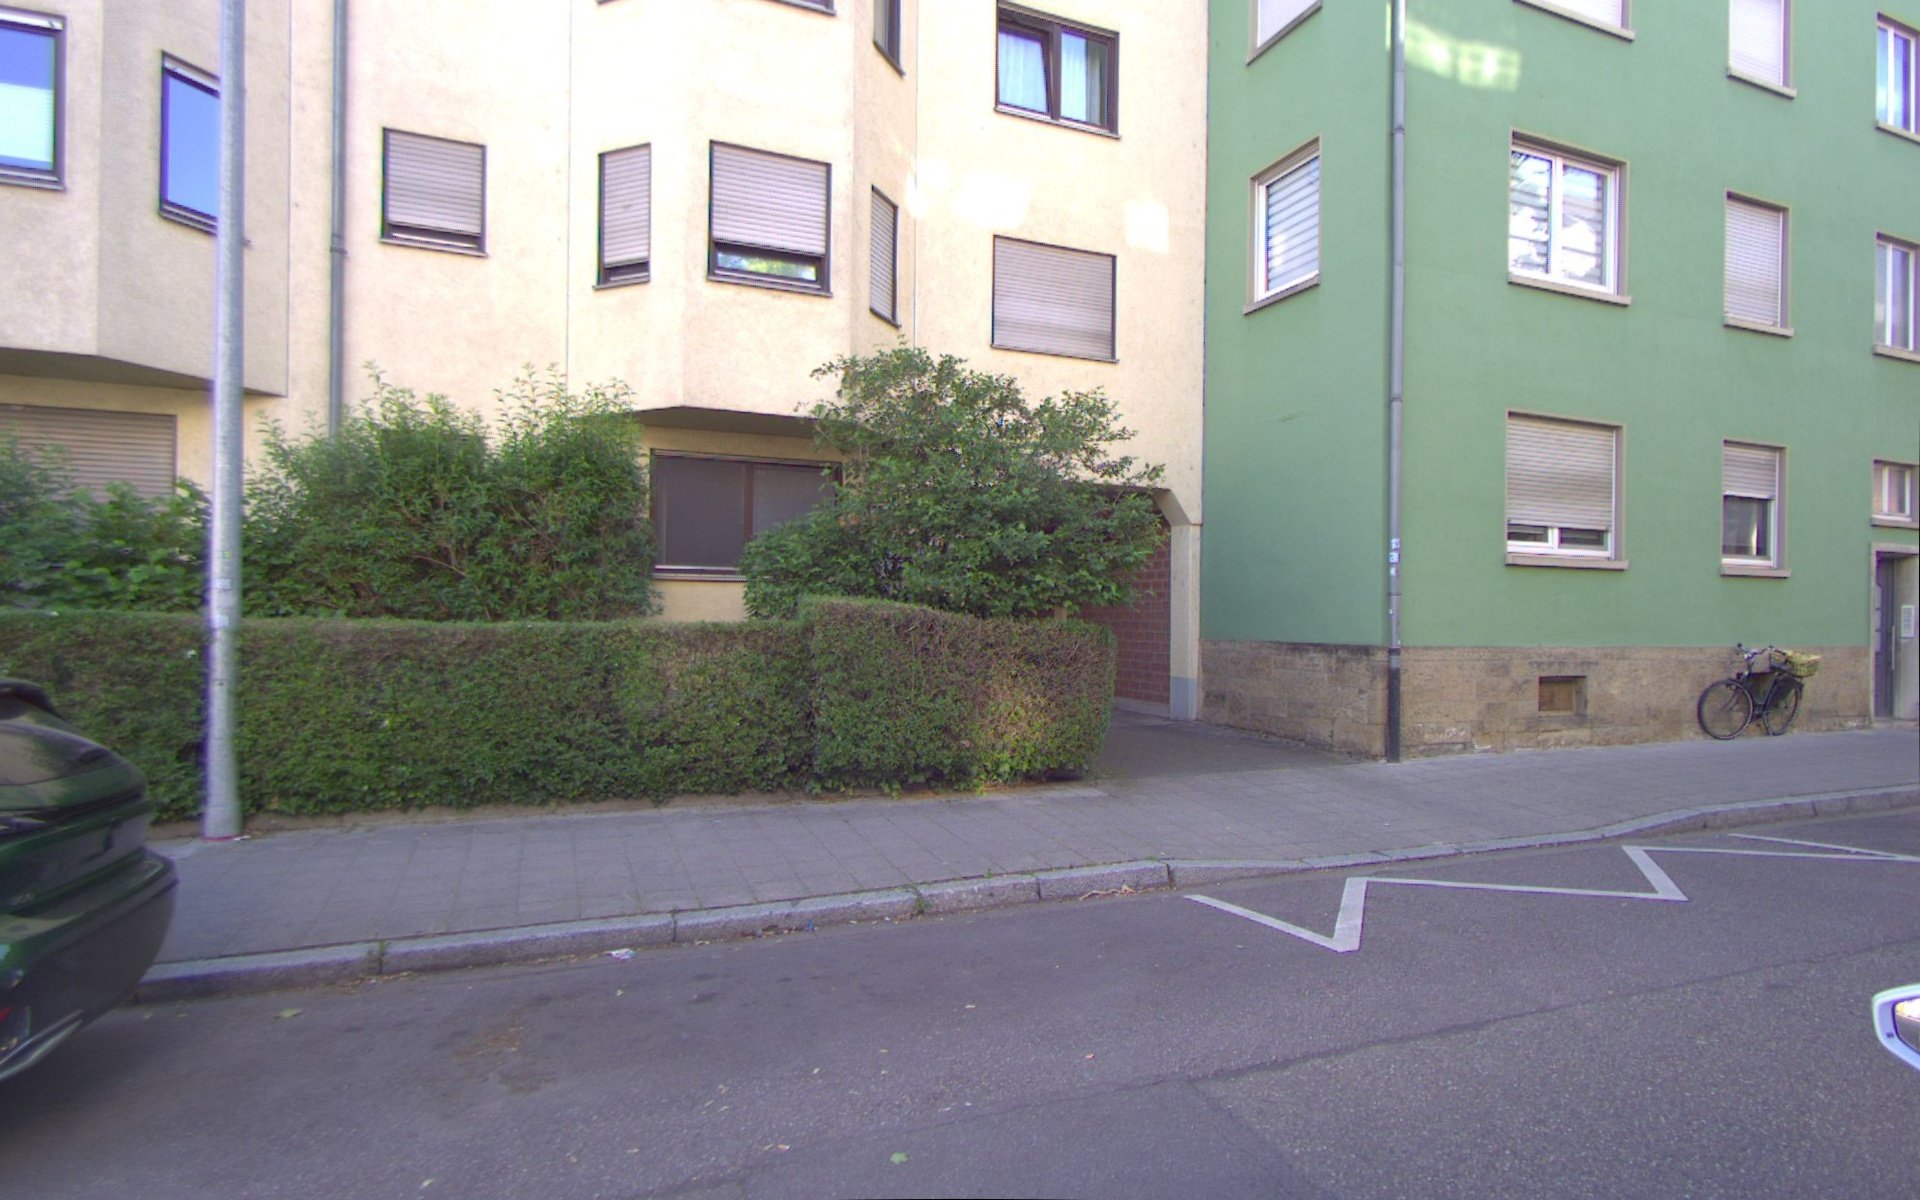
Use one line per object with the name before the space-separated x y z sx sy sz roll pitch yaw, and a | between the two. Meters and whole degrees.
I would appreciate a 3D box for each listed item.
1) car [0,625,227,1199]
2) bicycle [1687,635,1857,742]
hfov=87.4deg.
car | -4.519 0.816 2.442 4.077 1.516 1.748 1 -3 -24
bicycle | 9.906 1.049 12.235 2.245 1.194 0.549 1 3 -22
